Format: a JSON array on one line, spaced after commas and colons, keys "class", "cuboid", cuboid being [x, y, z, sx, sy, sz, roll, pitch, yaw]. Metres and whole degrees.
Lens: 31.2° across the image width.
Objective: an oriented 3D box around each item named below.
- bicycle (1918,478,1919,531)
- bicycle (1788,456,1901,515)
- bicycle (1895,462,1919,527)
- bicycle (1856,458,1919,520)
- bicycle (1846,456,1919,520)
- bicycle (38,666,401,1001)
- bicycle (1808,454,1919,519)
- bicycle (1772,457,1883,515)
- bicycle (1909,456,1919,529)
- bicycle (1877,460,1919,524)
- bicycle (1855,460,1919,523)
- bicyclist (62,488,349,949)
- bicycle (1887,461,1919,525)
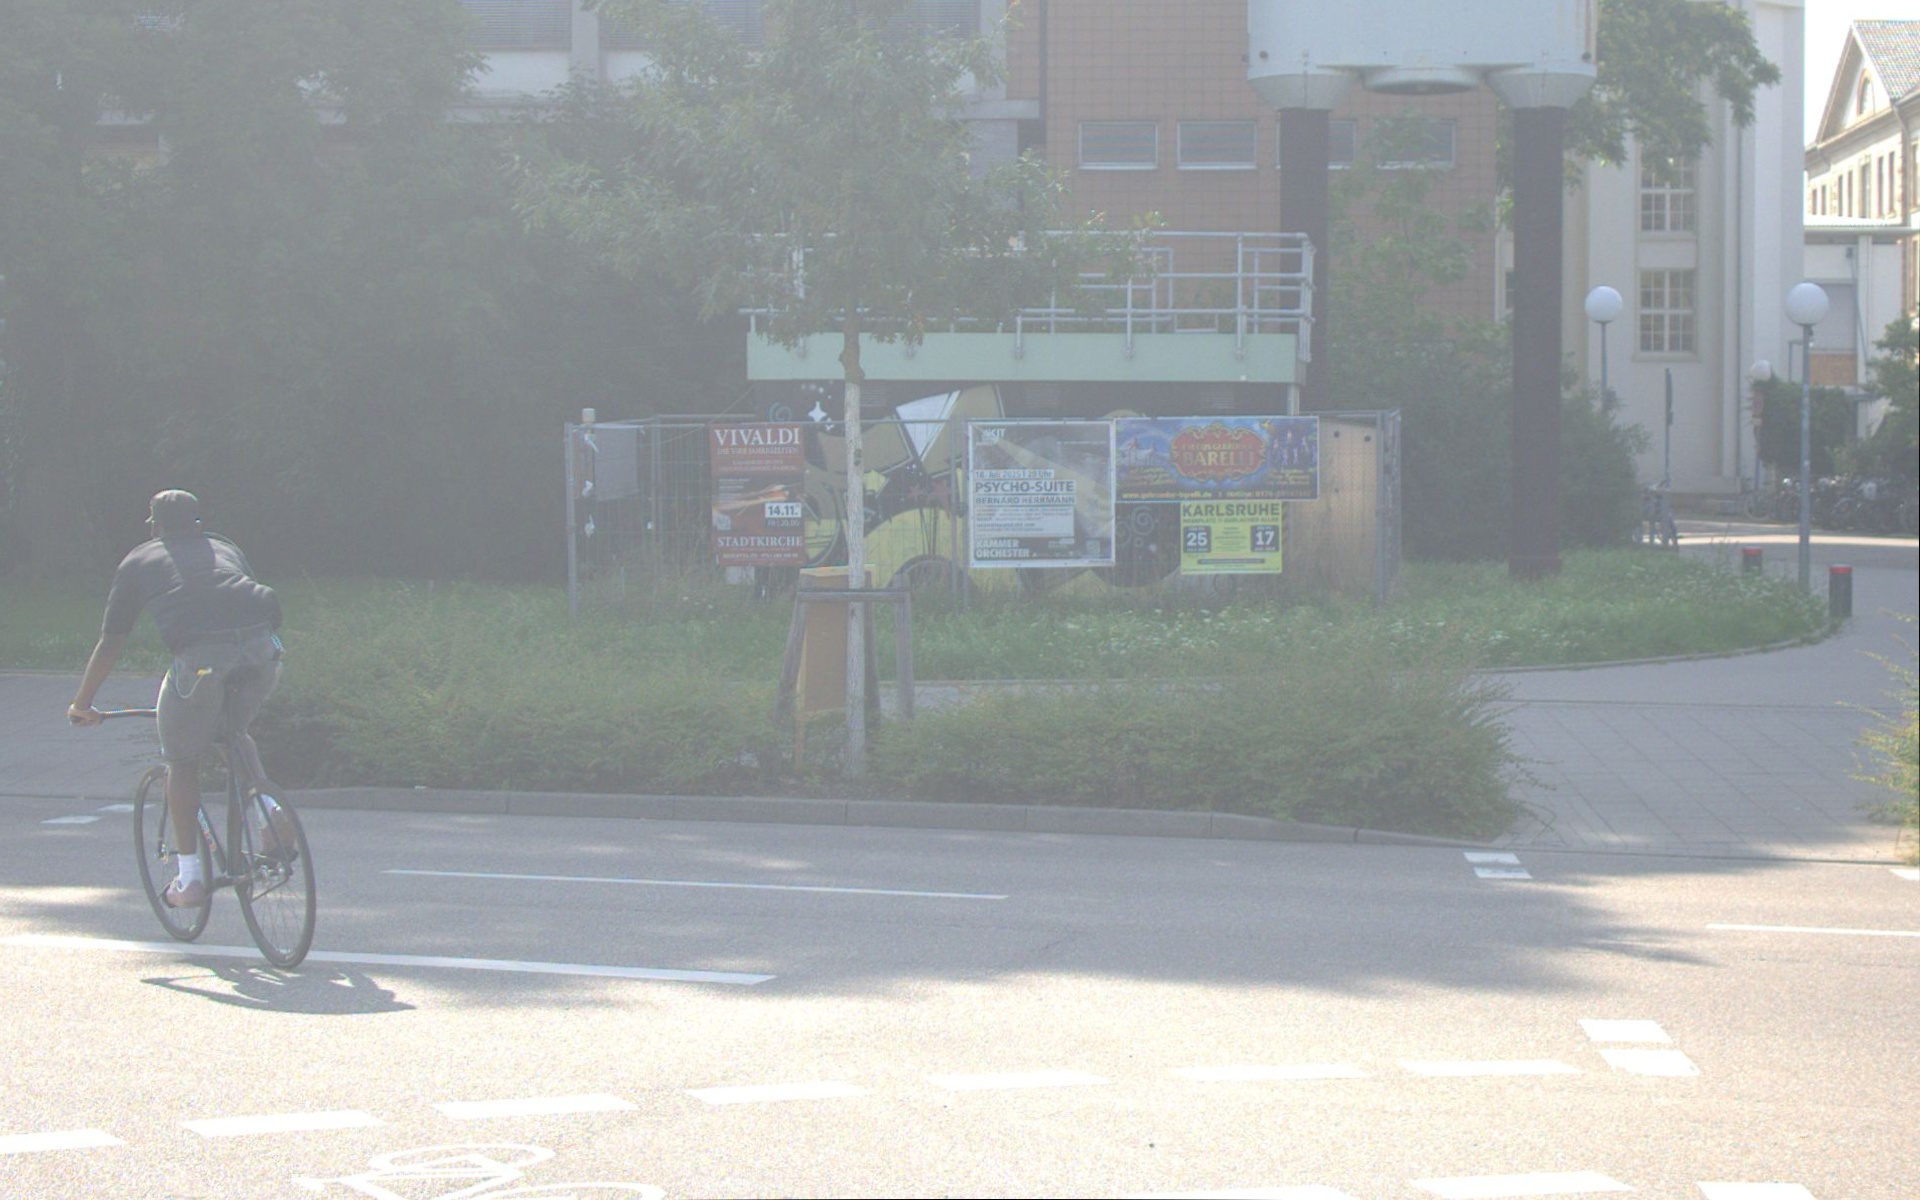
[{"class": "bicycle", "cuboid": [18.445, -1.852, 61.468, 2.428, 1.314, 0.720, 2, 3, 9]}, {"class": "bicycle", "cuboid": [20.477, -2.655, 79.668, 2.428, 1.258, 0.720, 2, 3, 9]}, {"class": "bicycle", "cuboid": [19.025, -1.962, 65.099, 2.428, 1.219, 0.720, 2, 3, 9]}, {"class": "bicycle", "cuboid": [19.607, -2.241, 70.181, 2.428, 1.224, 0.720, 2, 3, 9]}, {"class": "bicycle", "cuboid": [19.801, -2.323, 71.745, 2.428, 1.277, 0.720, 2, 3, 9]}, {"class": "bicycle", "cuboid": [-2.715, 0.787, 12.411, 0.772, 0.972, 2.150, -2, 2, -26]}, {"class": "bicycle", "cuboid": [19.304, -2.407, 72.941, 2.428, 1.277, 0.720, 2, 3, 9]}, {"class": "bicycle", "cuboid": [20.370, -2.677, 80.747, 2.428, 1.276, 0.720, 2, 3, 9]}, {"class": "bicycle", "cuboid": [18.608, -1.924, 62.591, 2.428, 1.314, 0.720, 2, 3, 9]}, {"class": "bicycle", "cuboid": [19.518, -2.114, 68.286, 2.428, 1.230, 0.720, 2, 3, 9]}, {"class": "bicycle", "cuboid": [19.321, -2.165, 69.166, 2.428, 1.235, 0.720, 2, 3, 9]}, {"class": "bicyclist", "cuboid": [-2.729, 0.388, 12.394, 0.772, 1.573, 0.991, -2, 2, -26]}, {"class": "bicycle", "cuboid": [19.204, -2.041, 66.359, 2.428, 1.219, 0.720, 2, 3, 9]}]
